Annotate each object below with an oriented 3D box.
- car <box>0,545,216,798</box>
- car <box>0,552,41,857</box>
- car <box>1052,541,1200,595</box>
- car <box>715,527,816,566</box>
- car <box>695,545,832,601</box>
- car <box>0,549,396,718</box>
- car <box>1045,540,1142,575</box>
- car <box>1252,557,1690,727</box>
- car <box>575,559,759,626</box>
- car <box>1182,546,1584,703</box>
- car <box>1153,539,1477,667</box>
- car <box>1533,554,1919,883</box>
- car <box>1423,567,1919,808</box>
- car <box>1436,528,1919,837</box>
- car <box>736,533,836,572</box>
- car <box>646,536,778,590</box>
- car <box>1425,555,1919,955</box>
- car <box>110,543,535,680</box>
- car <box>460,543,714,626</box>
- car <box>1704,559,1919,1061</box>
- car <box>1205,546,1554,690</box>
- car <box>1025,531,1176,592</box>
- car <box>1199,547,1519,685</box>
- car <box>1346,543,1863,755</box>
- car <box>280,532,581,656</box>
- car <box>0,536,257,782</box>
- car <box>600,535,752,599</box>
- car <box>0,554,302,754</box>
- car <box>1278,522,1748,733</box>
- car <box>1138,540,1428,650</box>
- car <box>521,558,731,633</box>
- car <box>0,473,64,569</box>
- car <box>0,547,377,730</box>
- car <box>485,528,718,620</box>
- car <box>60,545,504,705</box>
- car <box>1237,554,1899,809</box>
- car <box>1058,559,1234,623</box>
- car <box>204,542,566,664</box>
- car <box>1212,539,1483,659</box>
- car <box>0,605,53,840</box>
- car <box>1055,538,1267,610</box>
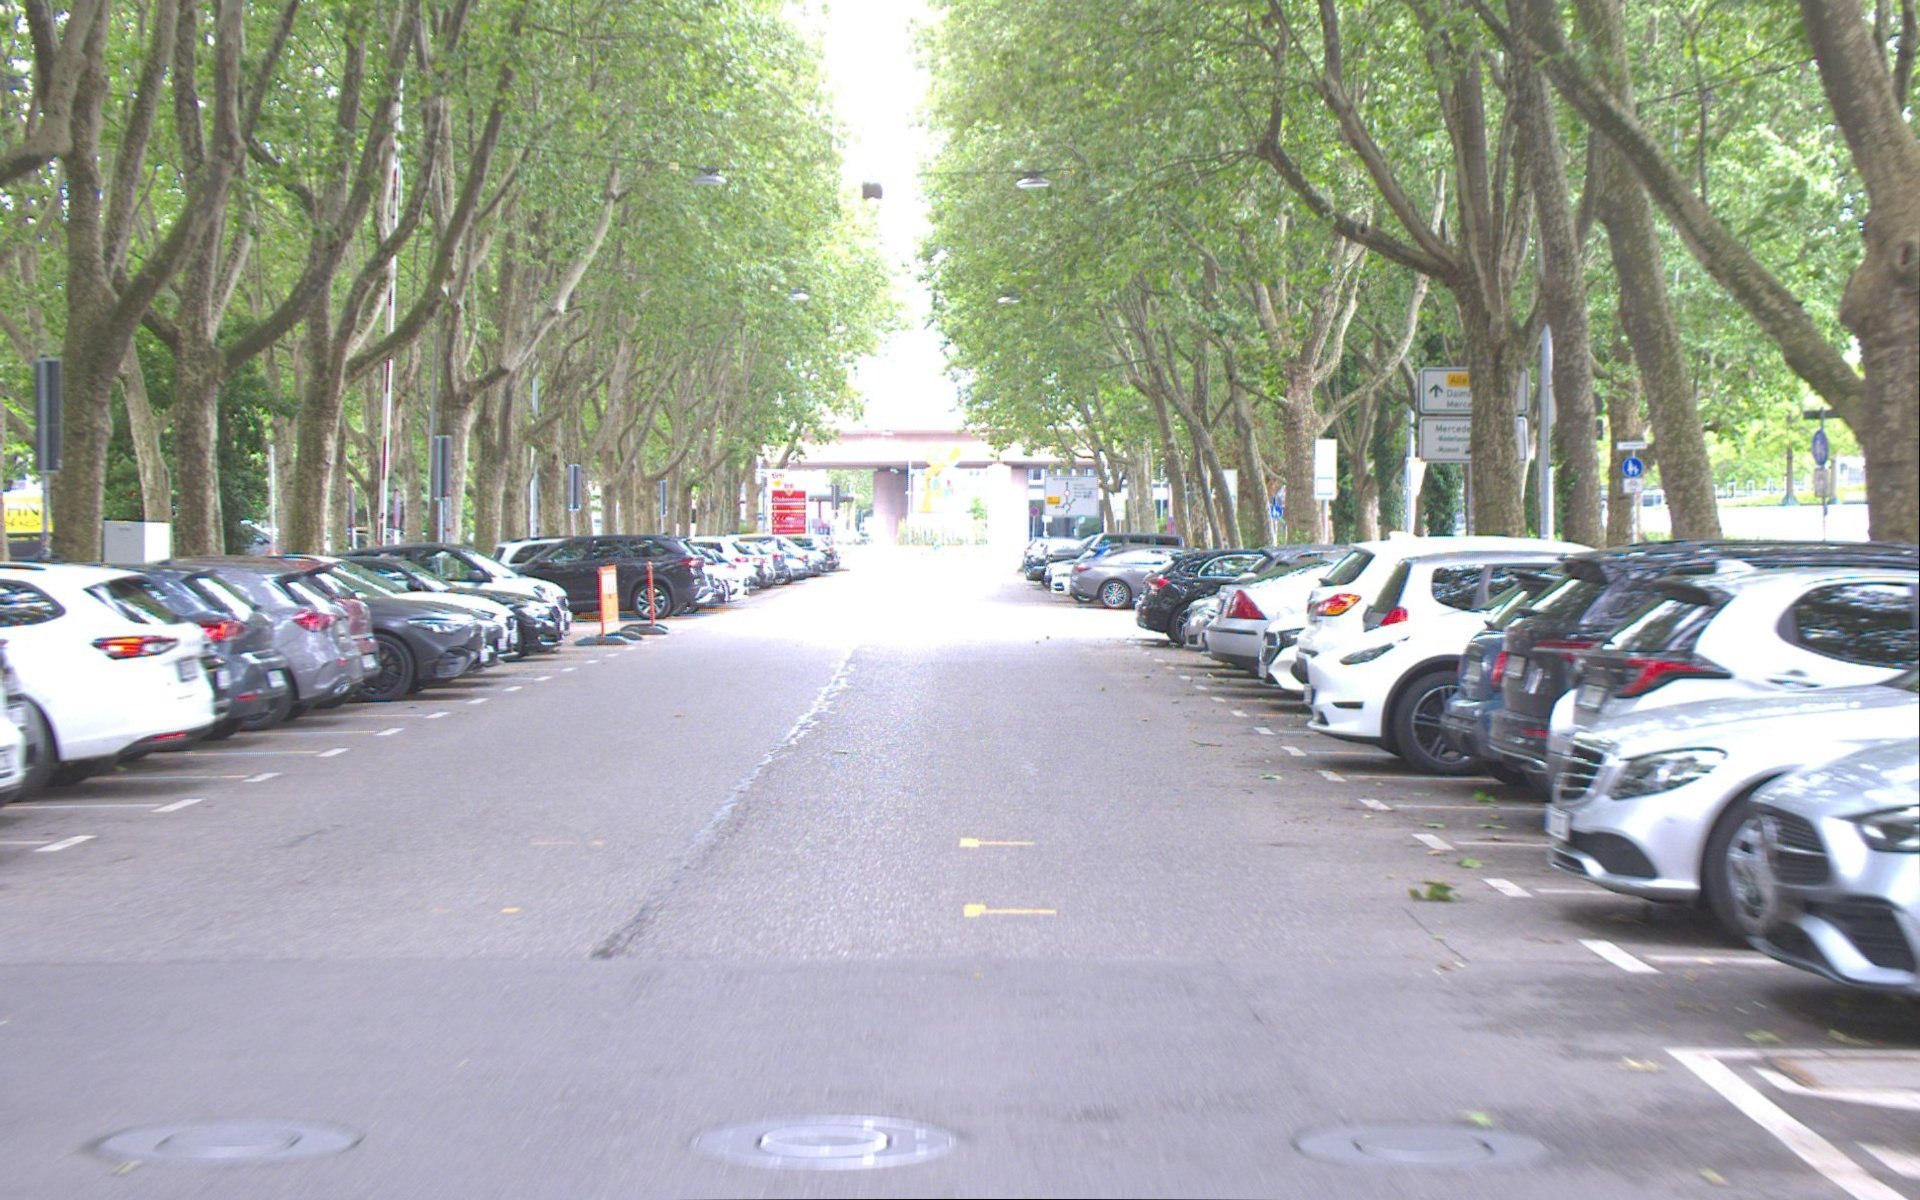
[{"bbox_3d":[-6.745,0.445,21.499,3.826,1.492,1.695,-1,1,-3],"label":"car"},{"bbox_3d":[-6.441,0.536,16.105,3.826,1.425,1.695,-1,1,-3],"label":"car"},{"bbox_3d":[4.713,-0.912,98.032,4.048,1.463,1.731,1,1,-2],"label":"car"},{"bbox_3d":[-7.661,-2.114,135.772,3.814,1.510,1.686,1,1,3],"label":"car"},{"bbox_3d":[-5.871,-0.815,102.966,3.814,1.510,1.686,-2,1,6],"label":"car"},{"bbox_3d":[-7.225,0.293,31.226,3.827,1.425,1.694,-1,1,4],"label":"car"},{"bbox_3d":[6.097,-1.958,157.656,4.376,1.517,1.731,1,1,1],"label":"car"},{"bbox_3d":[4.572,0.361,31.028,3.645,1.405,1.519,1,1,-3],"label":"car"},{"bbox_3d":[-6.496,-0.170,76.395,3.814,1.349,1.662,-2,1,6],"label":"car"},{"bbox_3d":[4.163,0.223,34.231,3.645,1.419,1.986,1,1,-3],"label":"car"},{"bbox_3d":[4.236,0.027,41.362,3.678,1.419,1.519,1,1,-1],"label":"car"},{"bbox_3d":[4.841,0.563,16.645,3.775,1.465,1.624,1,1,-3],"label":"car"},{"bbox_3d":[4.849,0.533,21.400,3.645,1.366,1.519,1,1,-3],"label":"car"},{"bbox_3d":[4.732,0.440,19.227,3.775,1.592,1.821,1,1,-3],"label":"car"},{"bbox_3d":[-6.969,-1.905,137.773,3.814,1.510,1.686,1,1,3],"label":"car"},{"bbox_3d":[-7.659,-1.146,106.366,3.814,1.510,1.686,-2,1,6],"label":"car"},{"bbox_3d":[4.179,0.608,13.862,4.296,1.465,1.624,1,1,-3],"label":"car"},{"bbox_3d":[-7.170,0.120,38.884,4.402,1.425,1.694,-1,1,5],"label":"car"},{"bbox_3d":[-7.134,-0.308,66.116,4.664,1.422,2.000,-2,1,-1],"label":"car"},{"bbox_3d":[4.896,0.665,11.025,4.614,1.465,1.650,1,1,0],"label":"car"},{"bbox_3d":[4.426,0.177,36.540,3.424,1.419,1.519,1,1,-3],"label":"car"},{"bbox_3d":[4.211,-1.174,103.549,4.376,1.745,1.731,1,1,-2],"label":"car"},{"bbox_3d":[4.439,0.162,38.590,3.425,1.419,1.519,1,1,2],"label":"car"},{"bbox_3d":[4.978,0.363,26.845,3.645,1.514,1.644,1,1,-3],"label":"car"},{"bbox_3d":[-7.108,-0.100,46.413,3.826,1.549,1.695,-1,1,-3],"label":"car"},{"bbox_3d":[-6.956,0.403,23.810,3.826,1.603,1.859,-1,1,-3],"label":"car"},{"bbox_3d":[-7.677,-0.906,93.220,3.814,1.597,1.785,-2,1,6],"label":"car"},{"bbox_3d":[-7.139,0.406,26.395,3.826,1.425,1.802,-1,1,-1],"label":"car"},{"bbox_3d":[4.631,0.212,29.099,3.645,1.661,1.519,1,1,-3],"label":"car"},{"bbox_3d":[4.563,-0.083,48.873,3.918,1.447,1.556,1,1,-1],"label":"car"},{"bbox_3d":[-6.905,-0.107,71.323,4.166,1.376,1.871,-2,1,-1],"label":"car"},{"bbox_3d":[-24.038,-1.929,81.702,5.077,2.224,1.536,1,1,-1],"label":"car"},{"bbox_3d":[-6.987,0.312,29.120,3.826,1.425,1.695,-1,1,-3],"label":"car"},{"bbox_3d":[-7.151,-0.532,68.926,4.471,1.671,1.762,-2,1,-1],"label":"car"},{"bbox_3d":[-6.571,0.225,33.629,4.020,1.425,1.695,-1,1,-3],"label":"car"},{"bbox_3d":[4.138,0.536,23.858,4.166,1.591,1.855,1,1,-3],"label":"car"},{"bbox_3d":[4.521,-0.220,83.297,4.176,1.437,1.731,1,1,5],"label":"car"},{"bbox_3d":[-7.252,0.023,43.665,4.332,1.425,1.695,-1,1,-3],"label":"car"},{"bbox_3d":[5.218,-0.027,46.548,3.425,1.503,1.556,1,1,-1],"label":"car"},{"bbox_3d":[-6.723,0.680,18.436,3.315,1.198,1.585,-1,1,-3],"label":"car"},{"bbox_3d":[4.462,-0.592,75.854,4.575,1.481,2.000,1,1,5],"label":"car"}]
